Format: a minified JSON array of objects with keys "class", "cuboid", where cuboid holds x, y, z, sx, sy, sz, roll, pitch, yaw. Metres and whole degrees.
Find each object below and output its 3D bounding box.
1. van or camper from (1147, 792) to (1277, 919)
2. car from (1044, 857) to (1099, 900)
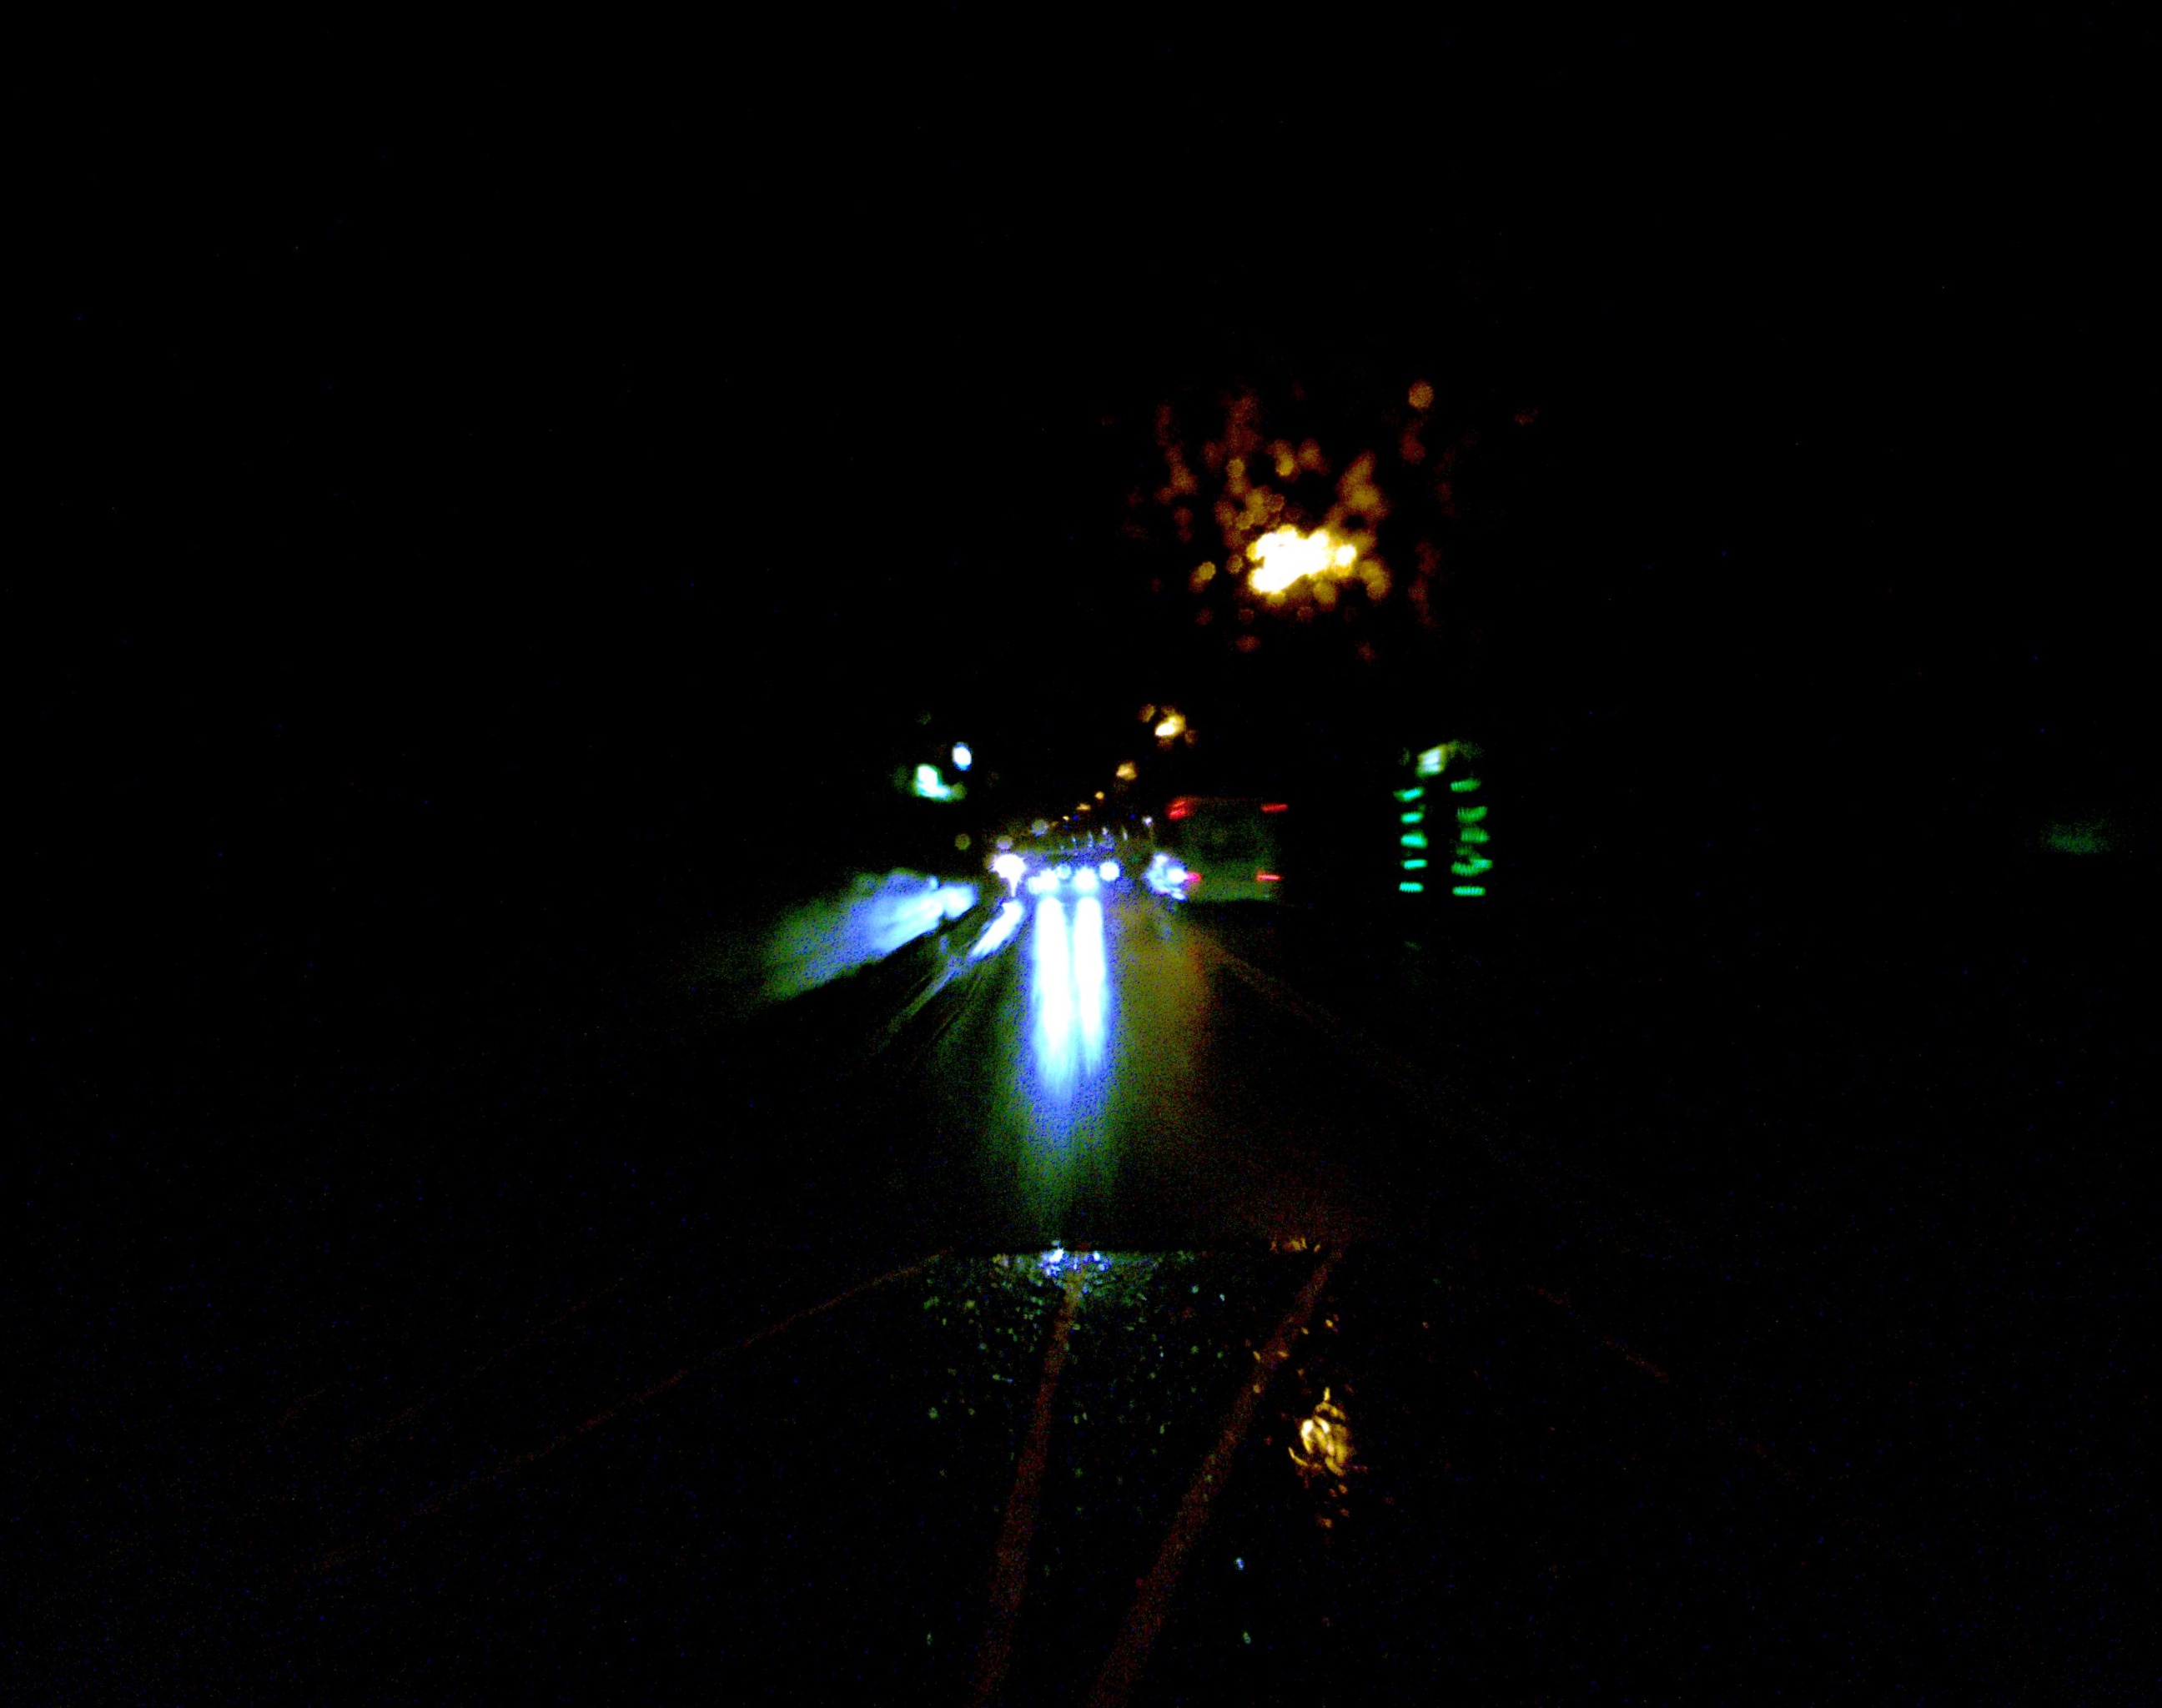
[{"class":"van or camper","cuboid":[3.343,0.019,21.002,2.420,2.866,6.678,-2,0,1]},{"class":"car","cuboid":[-0.464,0.937,31.106,1.999,1.546,3.998,-2,0,-4]}]
